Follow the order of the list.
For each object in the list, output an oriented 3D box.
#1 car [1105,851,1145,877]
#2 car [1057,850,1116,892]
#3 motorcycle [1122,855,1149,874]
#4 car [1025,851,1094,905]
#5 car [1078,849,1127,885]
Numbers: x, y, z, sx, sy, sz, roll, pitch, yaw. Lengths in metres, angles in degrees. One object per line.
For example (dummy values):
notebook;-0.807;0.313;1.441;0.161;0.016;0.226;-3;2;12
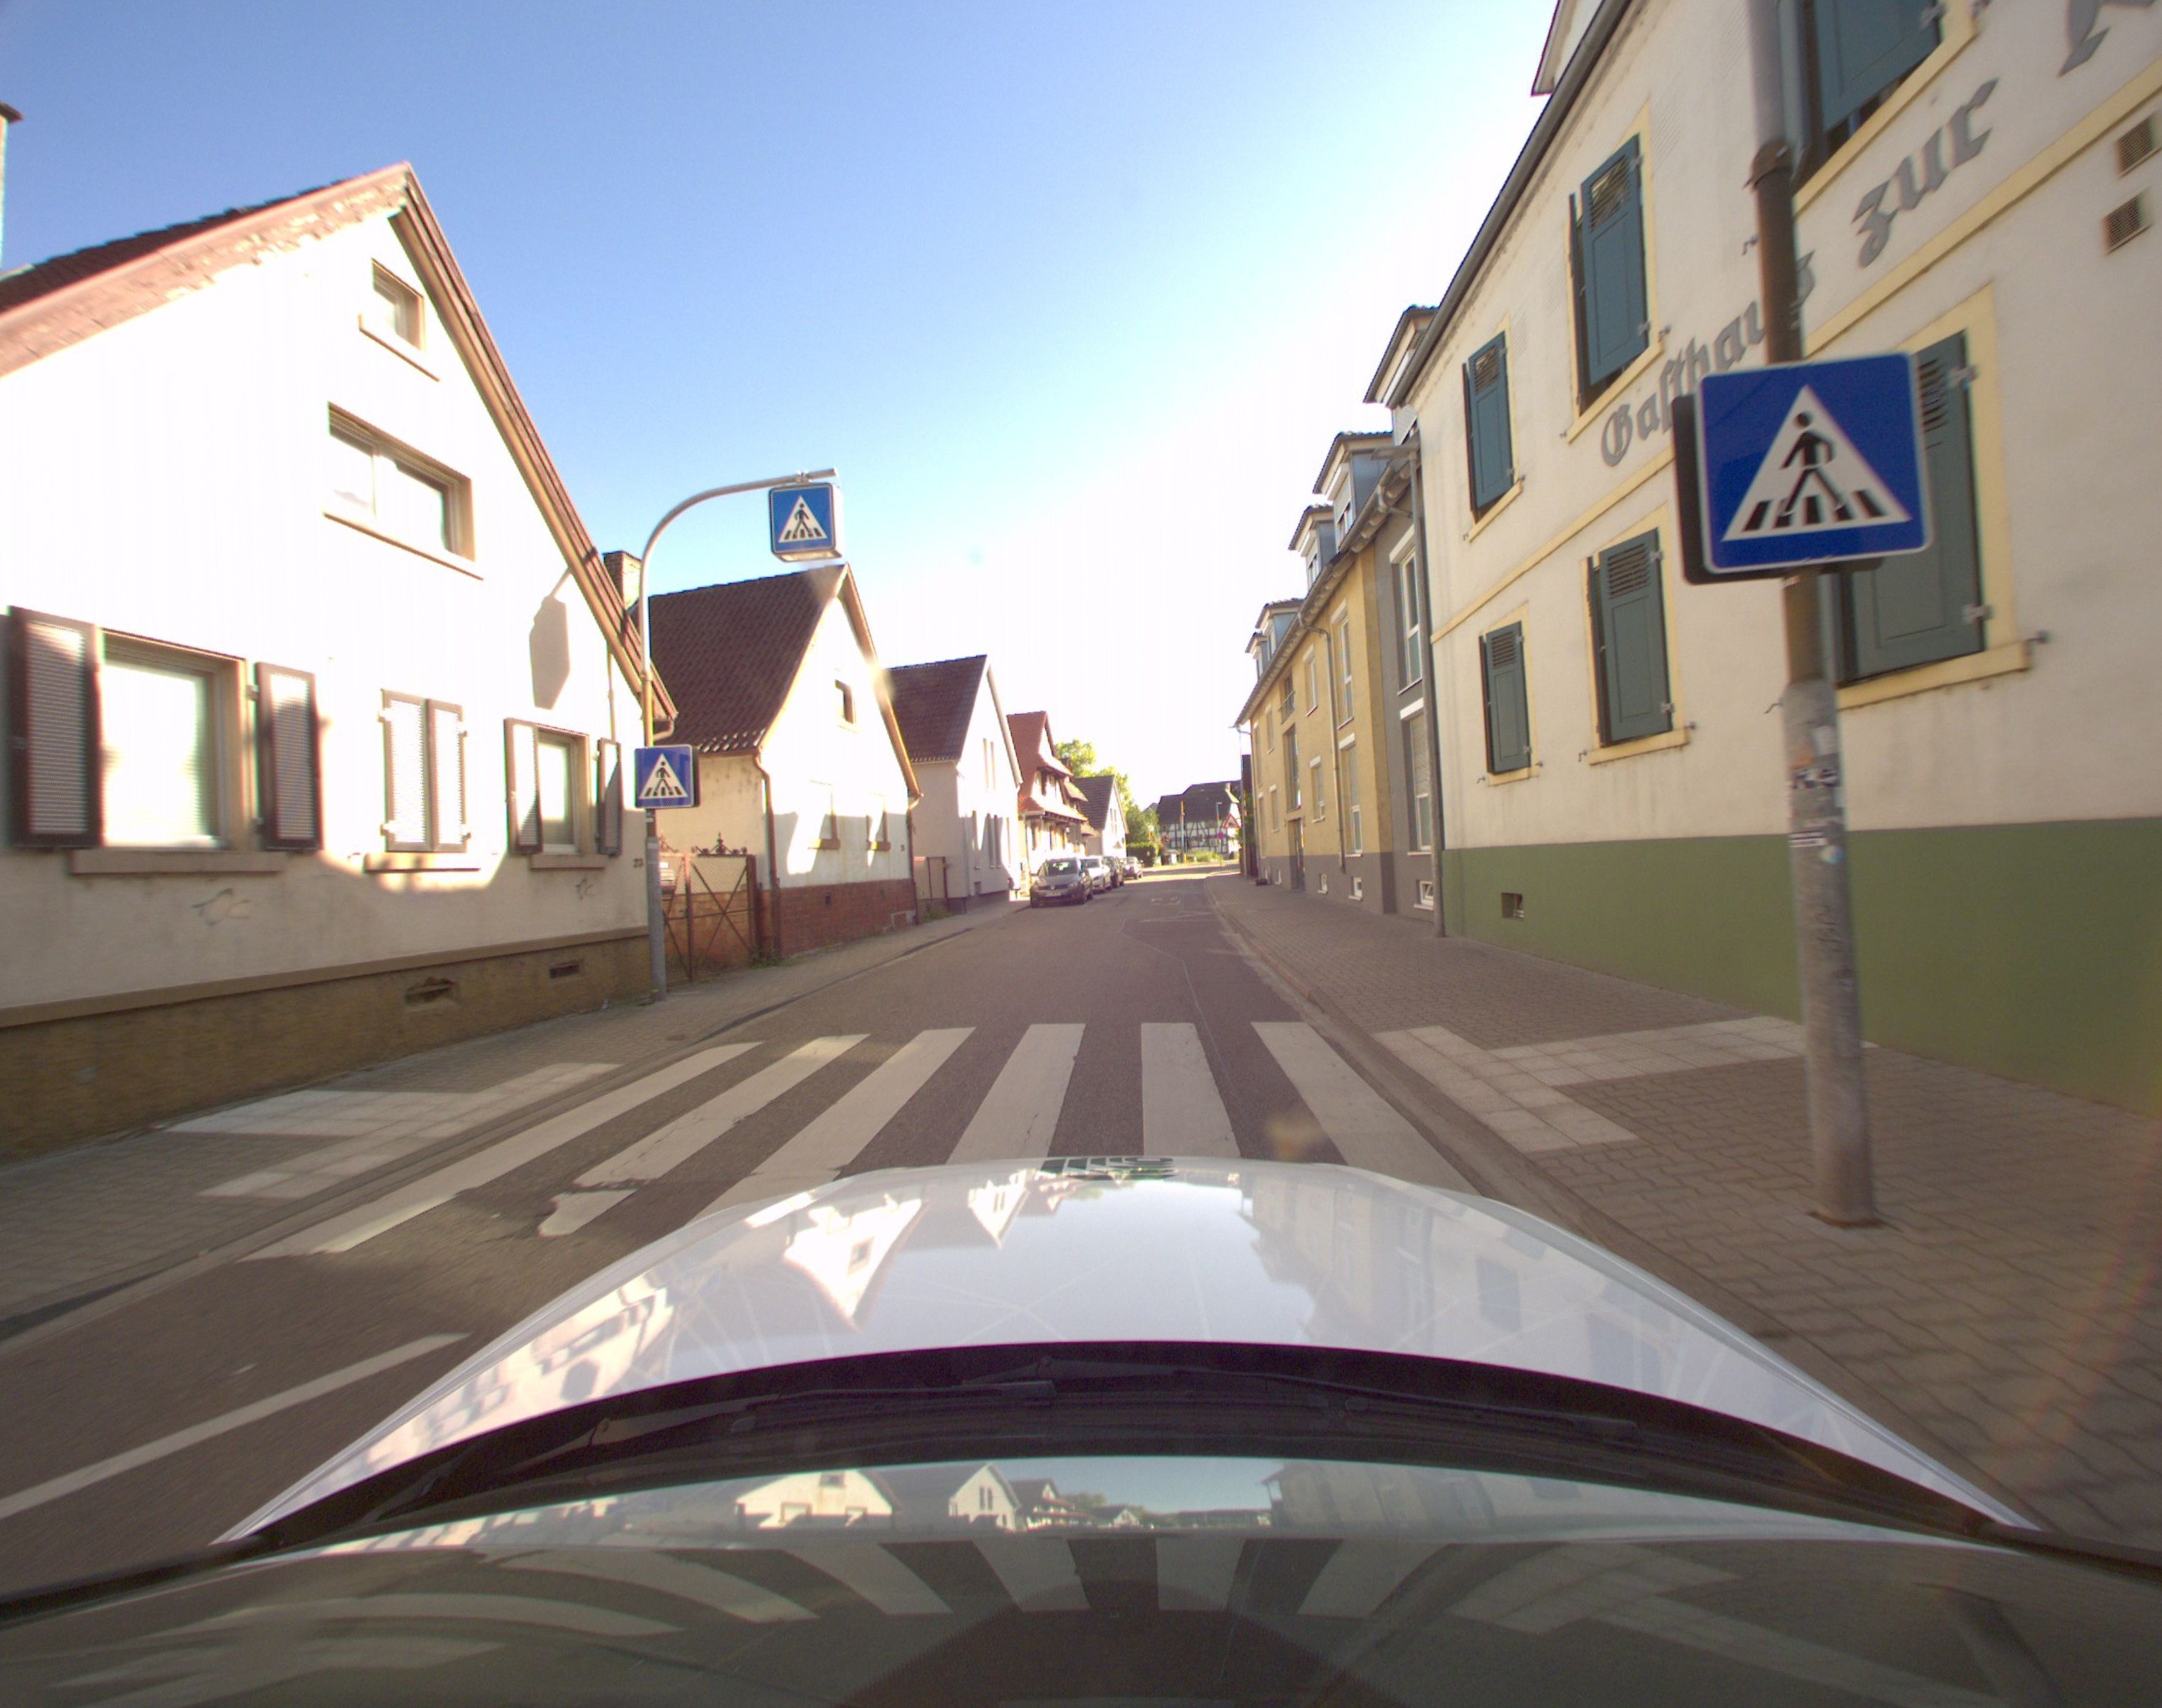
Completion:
car;2.836;0.590;51.442;1.834;1.406;5.049;-5;-1;9
car;0.301;0.703;34.711;1.805;1.567;4.179;-4;-1;9
motorcycle;3.666;0.710;55.092;0.630;1.231;1.972;-4;0;-37
car;-0.659;0.774;27.876;1.733;1.614;4.007;-4;-1;6
car;1.110;0.597;40.182;1.773;1.604;4.372;-4;0;9
